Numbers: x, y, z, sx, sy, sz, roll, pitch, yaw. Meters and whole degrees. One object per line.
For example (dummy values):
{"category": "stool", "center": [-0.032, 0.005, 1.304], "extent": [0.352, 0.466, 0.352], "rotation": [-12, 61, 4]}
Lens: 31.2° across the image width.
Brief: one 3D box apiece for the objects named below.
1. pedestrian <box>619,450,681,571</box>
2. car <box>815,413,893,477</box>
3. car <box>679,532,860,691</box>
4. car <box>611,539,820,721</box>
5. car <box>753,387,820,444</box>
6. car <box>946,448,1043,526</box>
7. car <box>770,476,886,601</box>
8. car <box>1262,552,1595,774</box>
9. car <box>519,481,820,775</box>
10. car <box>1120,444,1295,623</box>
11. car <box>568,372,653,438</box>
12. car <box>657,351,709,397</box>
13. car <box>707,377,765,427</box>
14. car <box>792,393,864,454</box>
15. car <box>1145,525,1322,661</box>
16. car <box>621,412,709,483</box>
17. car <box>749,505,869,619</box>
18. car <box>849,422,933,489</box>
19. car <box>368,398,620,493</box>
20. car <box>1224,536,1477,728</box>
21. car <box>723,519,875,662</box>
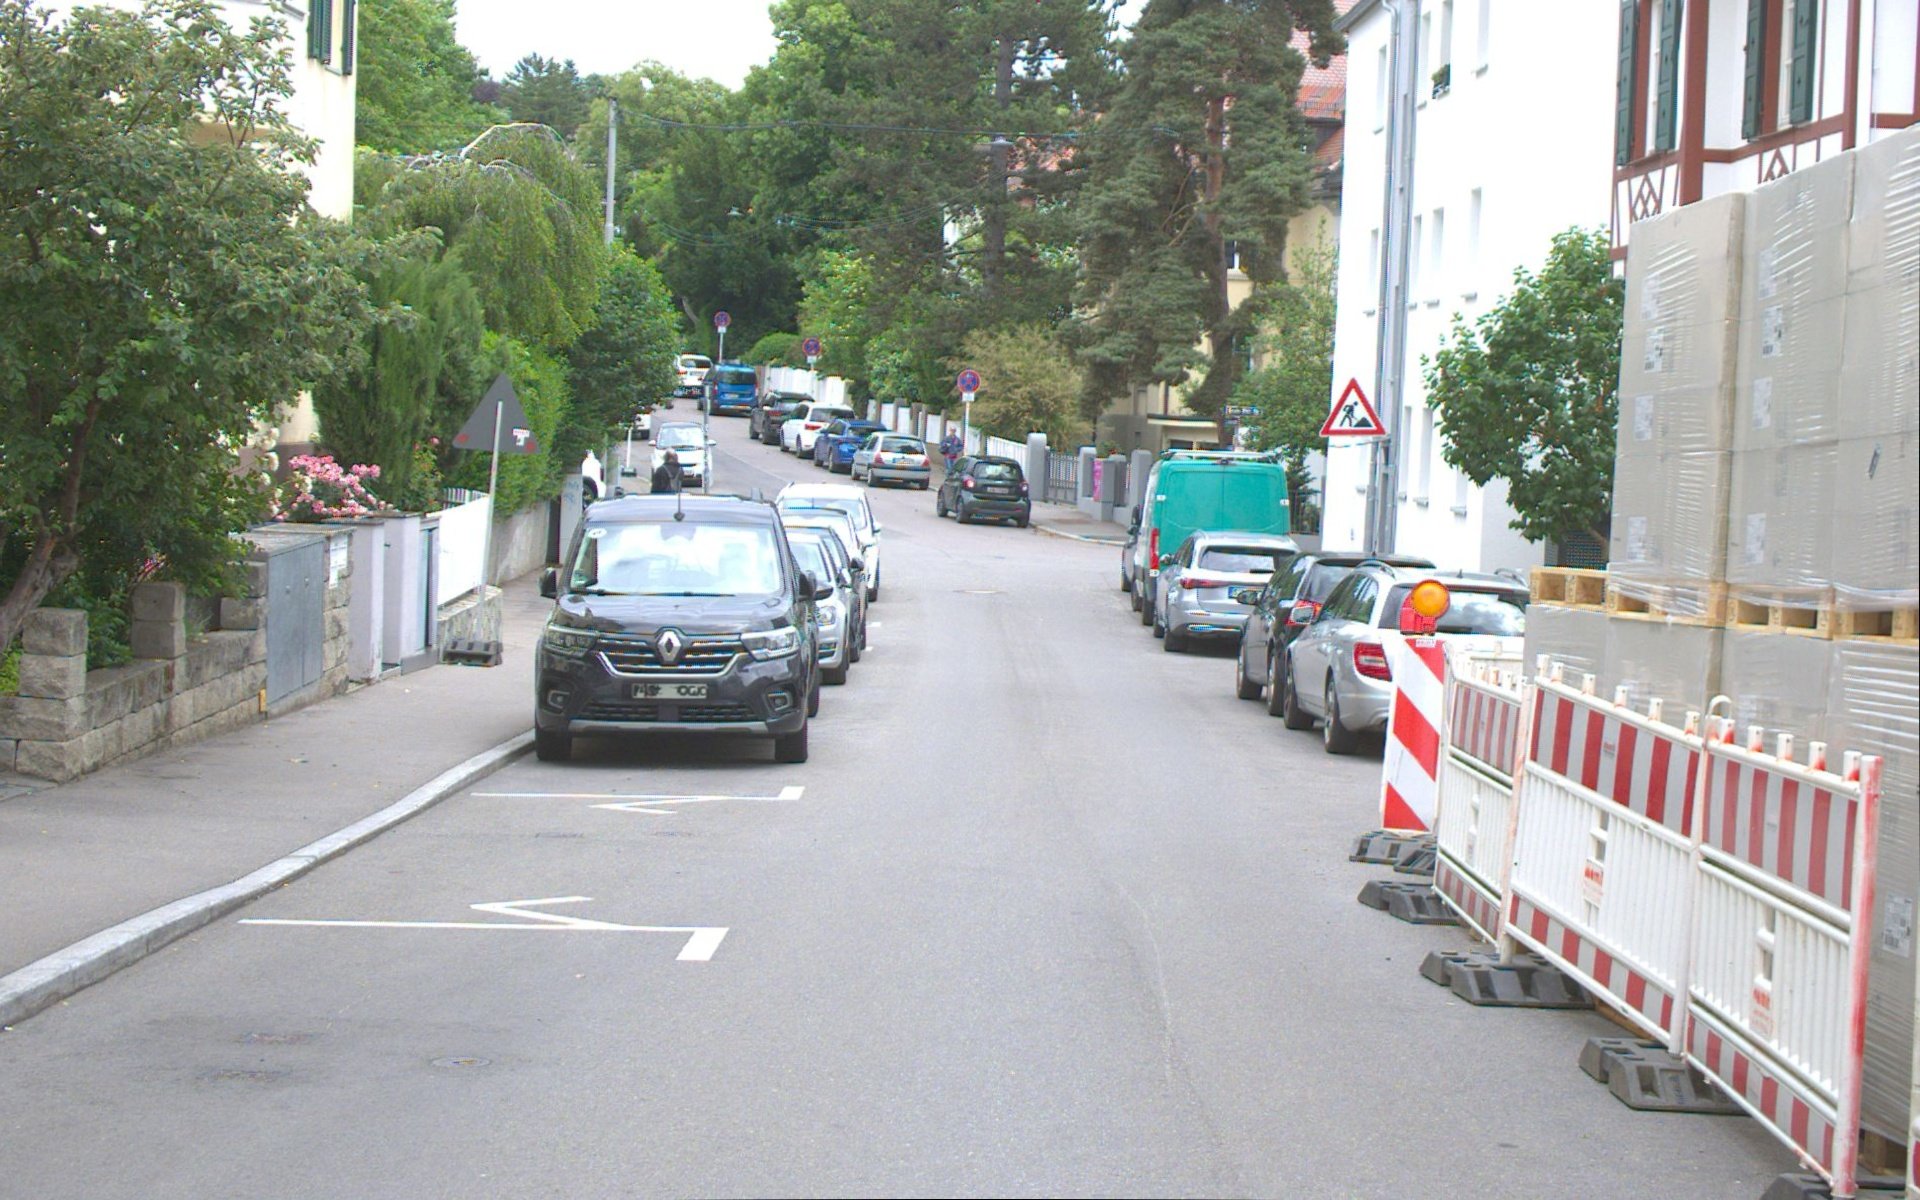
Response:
{"category": "pedestrian", "center": [-5.100, -1.480, 56.616], "extent": [0.791, 1.926, 0.919], "rotation": [3, 2, 2]}
{"category": "car", "center": [-2.976, -4.324, 95.564], "extent": [1.634, 1.478, 3.532], "rotation": [3, 5, -10]}
{"category": "car", "center": [-1.834, 0.064, 34.091], "extent": [1.642, 1.412, 3.984], "rotation": [1, 2, -1]}
{"category": "car", "center": [-2.044, 0.210, 29.544], "extent": [1.642, 1.383, 3.860], "rotation": [1, 2, -2]}
{"category": "car", "center": [-5.433, -5.780, 107.423], "extent": [1.634, 1.532, 3.532], "rotation": [3, 5, -10]}
{"category": "car", "center": [0.776, -2.618, 79.075], "extent": [1.634, 1.478, 3.532], "rotation": [3, 5, -8]}
{"category": "car", "center": [-1.992, -0.984, 52.698], "extent": [1.672, 1.651, 3.864], "rotation": [1, 4, -1]}
{"category": "car", "center": [3.562, 0.423, 26.923], "extent": [1.818, 1.437, 4.452], "rotation": [3, 2, -1]}
{"category": "car", "center": [-1.961, 0.140, 23.855], "extent": [1.844, 1.809, 4.545], "rotation": [1, 1, -3]}
{"category": "car", "center": [3.465, -0.999, 48.947], "extent": [1.980, 2.354, 4.278], "rotation": [2, 3, -1]}
{"category": "car", "center": [-10.894, -6.083, 106.921], "extent": [1.903, 1.870, 4.598], "rotation": [0, 5, -15]}
{"category": "car", "center": [-10.646, -8.695, 131.973], "extent": [1.634, 1.532, 3.532], "rotation": [3, 5, -10]}
{"category": "car", "center": [-7.952, -7.034, 121.824], "extent": [1.634, 1.532, 3.532], "rotation": [3, 5, -10]}
{"category": "car", "center": [-3.922, -5.240, 101.643], "extent": [1.634, 1.532, 3.532], "rotation": [3, 5, -10]}
{"category": "car", "center": [3.326, -0.124, 42.478], "extent": [1.725, 1.443, 3.881], "rotation": [2, 3, -1]}
{"category": "car", "center": [-7.597, -3.945, 88.354], "extent": [1.672, 1.651, 3.865], "rotation": [0, 4, -13]}
{"category": "car", "center": [-2.103, -0.568, 48.575], "extent": [1.596, 1.408, 3.663], "rotation": [1, 3, -1]}
{"category": "car", "center": [-1.845, -3.837, 90.998], "extent": [1.634, 1.478, 3.532], "rotation": [3, 5, -10]}
{"category": "car", "center": [-9.349, -3.099, 69.254], "extent": [1.999, 1.634, 4.801], "rotation": [5, 3, 42]}
{"category": "car", "center": [3.495, 0.236, 31.406], "extent": [1.689, 1.514, 3.881], "rotation": [3, 2, -1]}
{"category": "car", "center": [-1.779, -0.145, 38.833], "extent": [1.596, 1.473, 3.992], "rotation": [1, 2, -1]}
